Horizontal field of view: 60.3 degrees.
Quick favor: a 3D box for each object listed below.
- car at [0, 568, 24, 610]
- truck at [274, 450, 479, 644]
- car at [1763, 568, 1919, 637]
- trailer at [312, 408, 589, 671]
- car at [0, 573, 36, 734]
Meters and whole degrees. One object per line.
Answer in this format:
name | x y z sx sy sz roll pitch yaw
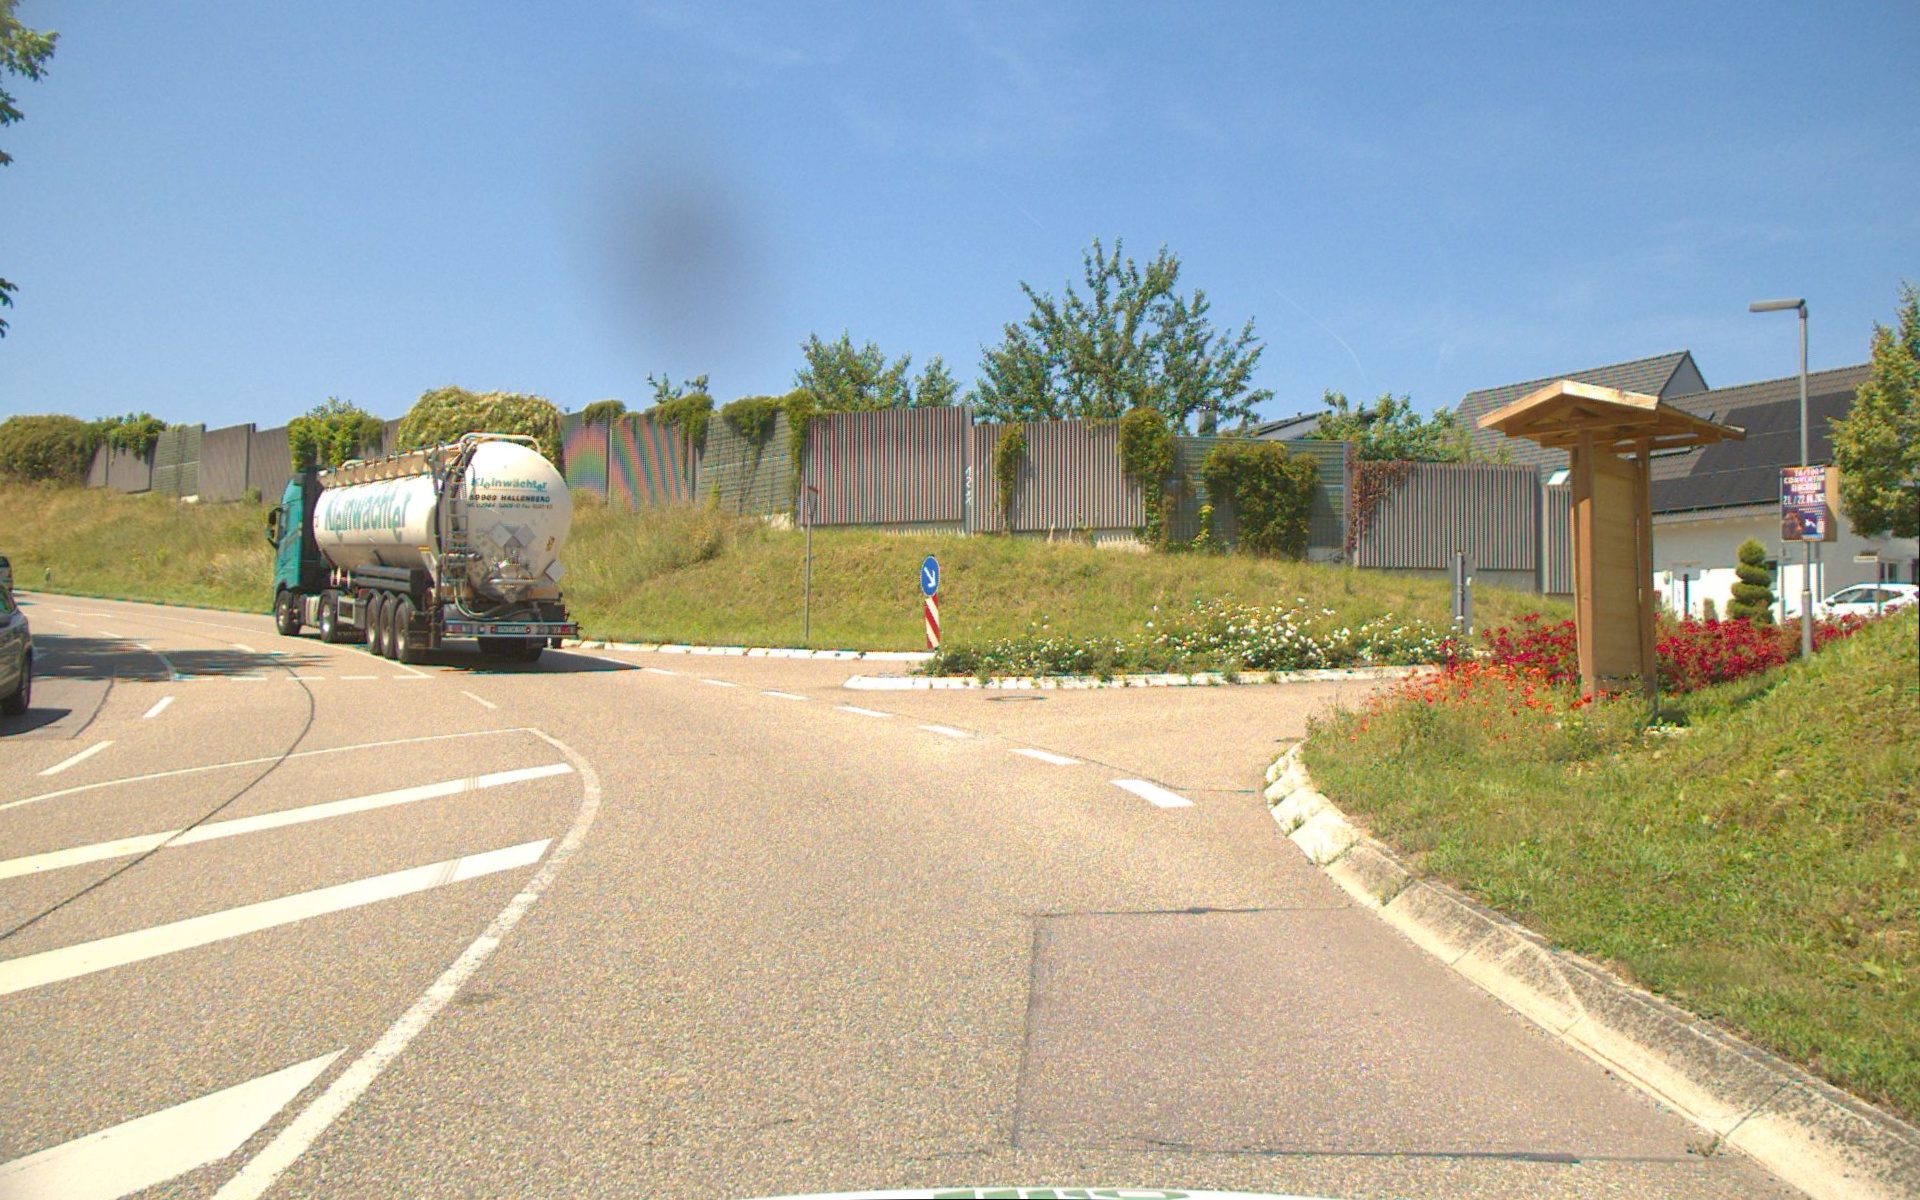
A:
car | -37.564 -0.491 63.469 3.571 1.536 1.644 3 -2 40
truck | -13.455 -1.125 37.751 2.703 3.998 7.178 1 0 -34
car | 25.420 0.080 46.691 1.974 1.683 4.555 5 -1 -32
trailer | -10.394 -1.084 32.537 2.634 4.261 11.783 -1 1 -30
car | -11.023 0.535 17.503 1.768 1.633 4.149 0 0 -24
